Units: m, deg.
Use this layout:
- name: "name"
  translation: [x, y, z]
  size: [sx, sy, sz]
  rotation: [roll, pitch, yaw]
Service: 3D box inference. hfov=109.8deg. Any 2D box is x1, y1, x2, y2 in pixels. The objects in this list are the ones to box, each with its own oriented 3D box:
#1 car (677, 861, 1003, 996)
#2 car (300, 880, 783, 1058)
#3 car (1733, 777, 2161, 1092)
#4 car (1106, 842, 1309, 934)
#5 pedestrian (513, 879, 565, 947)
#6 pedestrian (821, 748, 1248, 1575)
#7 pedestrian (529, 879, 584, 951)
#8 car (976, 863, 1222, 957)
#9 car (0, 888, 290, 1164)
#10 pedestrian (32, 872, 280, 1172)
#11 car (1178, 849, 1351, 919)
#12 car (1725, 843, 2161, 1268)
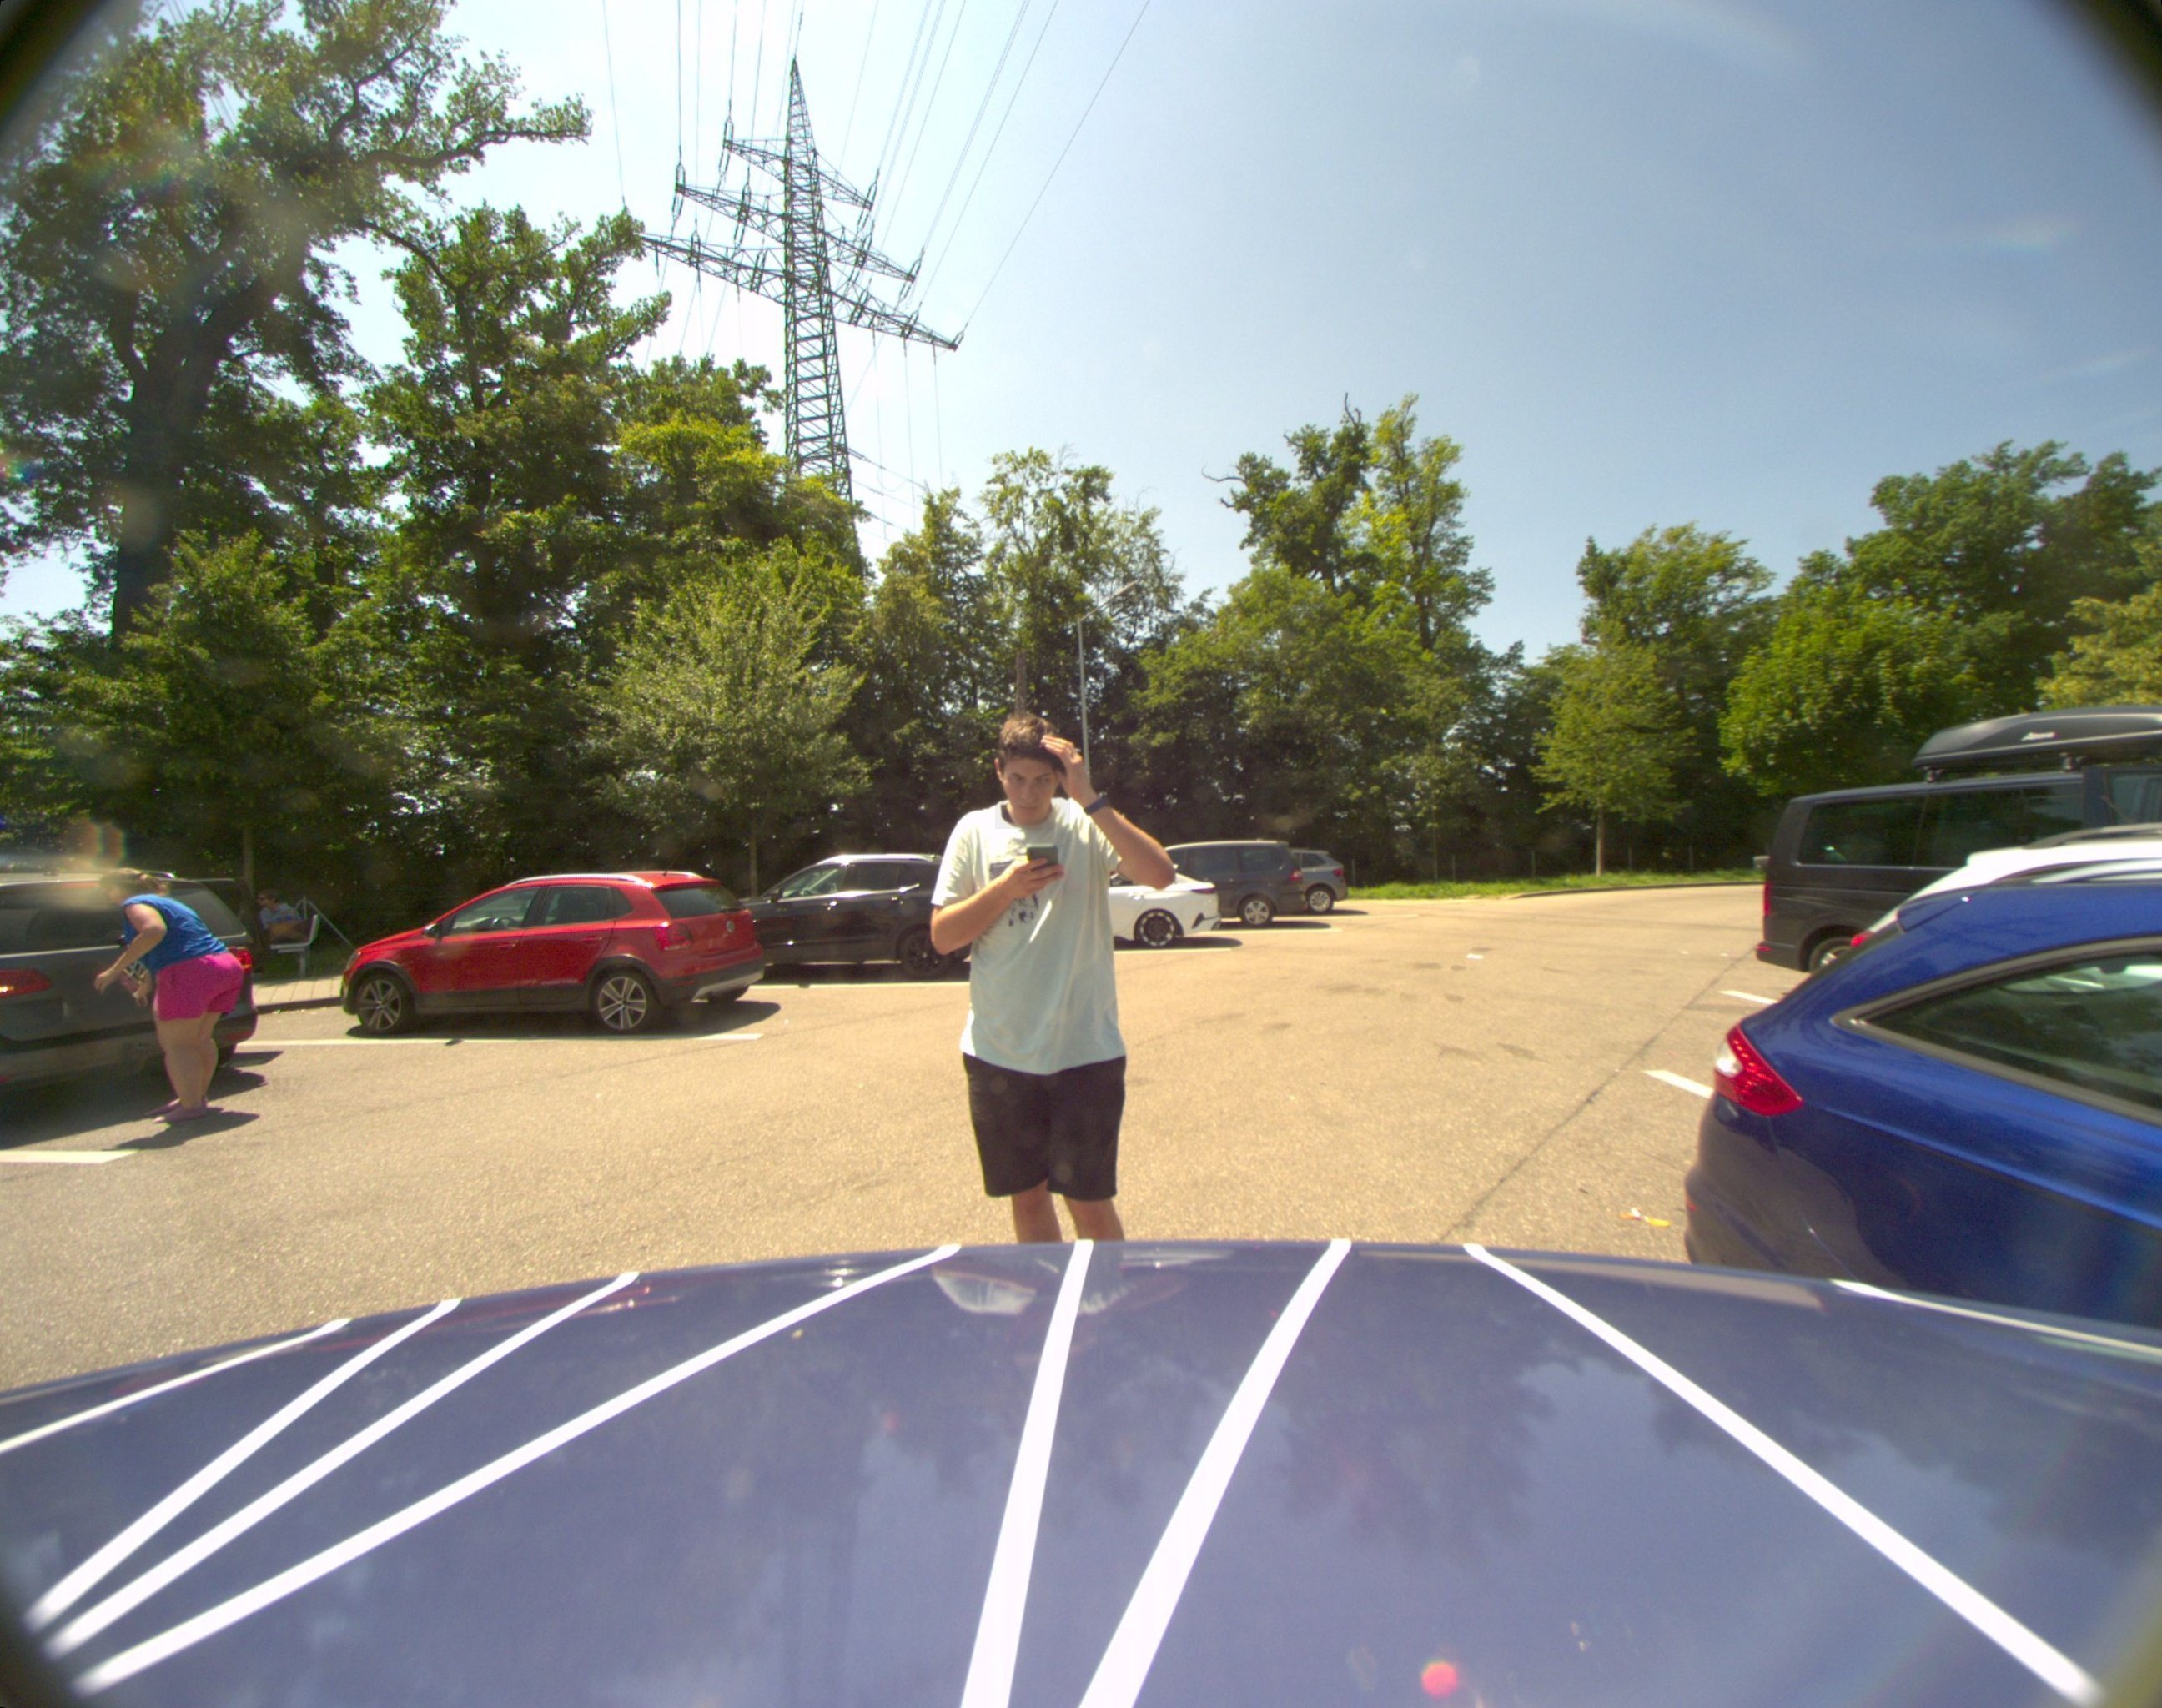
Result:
- name: "car"
  translation: [-3.081, 0.935, 10.266]
  size: [3.787, 1.564, 1.721]
  rotation: [-1, 1, 2]
- name: "car"
  translation: [-5.253, 1.065, 7.655]
  size: [3.785, 1.457, 1.722]
  rotation: [-1, 1, 9]
- name: "car"
  translation: [7.308, 0.437, 4.921]
  size: [1.961, 1.858, 4.642]
  rotation: [-3, -1, -3]
- name: "car"
  translation: [2.572, 0.666, 15.459]
  size: [3.818, 1.714, 1.722]
  rotation: [-1, 1, 12]
- name: "pedestrian"
  translation: [-10.921, 1.162, 15.317]
  size: [0.782, 1.287, 0.670]
  rotation: [-1, 2, 45]
- name: "pedestrian"
  translation: [-0.107, 0.690, 2.025]
  size: [0.890, 1.831, 0.621]
  rotation: [-2, 1, -3]
- name: "pedestrian"
  translation: [-10.021, 1.136, 14.510]
  size: [0.782, 1.287, 0.670]
  rotation: [-1, 2, 45]
- name: "car"
  translation: [0.349, 0.898, 12.733]
  size: [3.819, 1.377, 1.722]
  rotation: [-1, 1, 6]
- name: "car"
  translation: [-8.305, 1.105, 5.445]
  size: [3.985, 1.572, 1.749]
  rotation: [-1, 1, 12]
- name: "pedestrian"
  translation: [-5.867, 0.972, 4.900]
  size: [0.735, 1.672, 0.917]
  rotation: [-3, 1, -36]
- name: "car"
  translation: [4.323, 0.689, 18.162]
  size: [3.818, 1.530, 1.722]
  rotation: [-1, 1, 12]
- name: "car"
  translation: [4.861, 0.724, 2.291]
  size: [1.741, 1.524, 4.642]
  rotation: [-3, -1, -2]
